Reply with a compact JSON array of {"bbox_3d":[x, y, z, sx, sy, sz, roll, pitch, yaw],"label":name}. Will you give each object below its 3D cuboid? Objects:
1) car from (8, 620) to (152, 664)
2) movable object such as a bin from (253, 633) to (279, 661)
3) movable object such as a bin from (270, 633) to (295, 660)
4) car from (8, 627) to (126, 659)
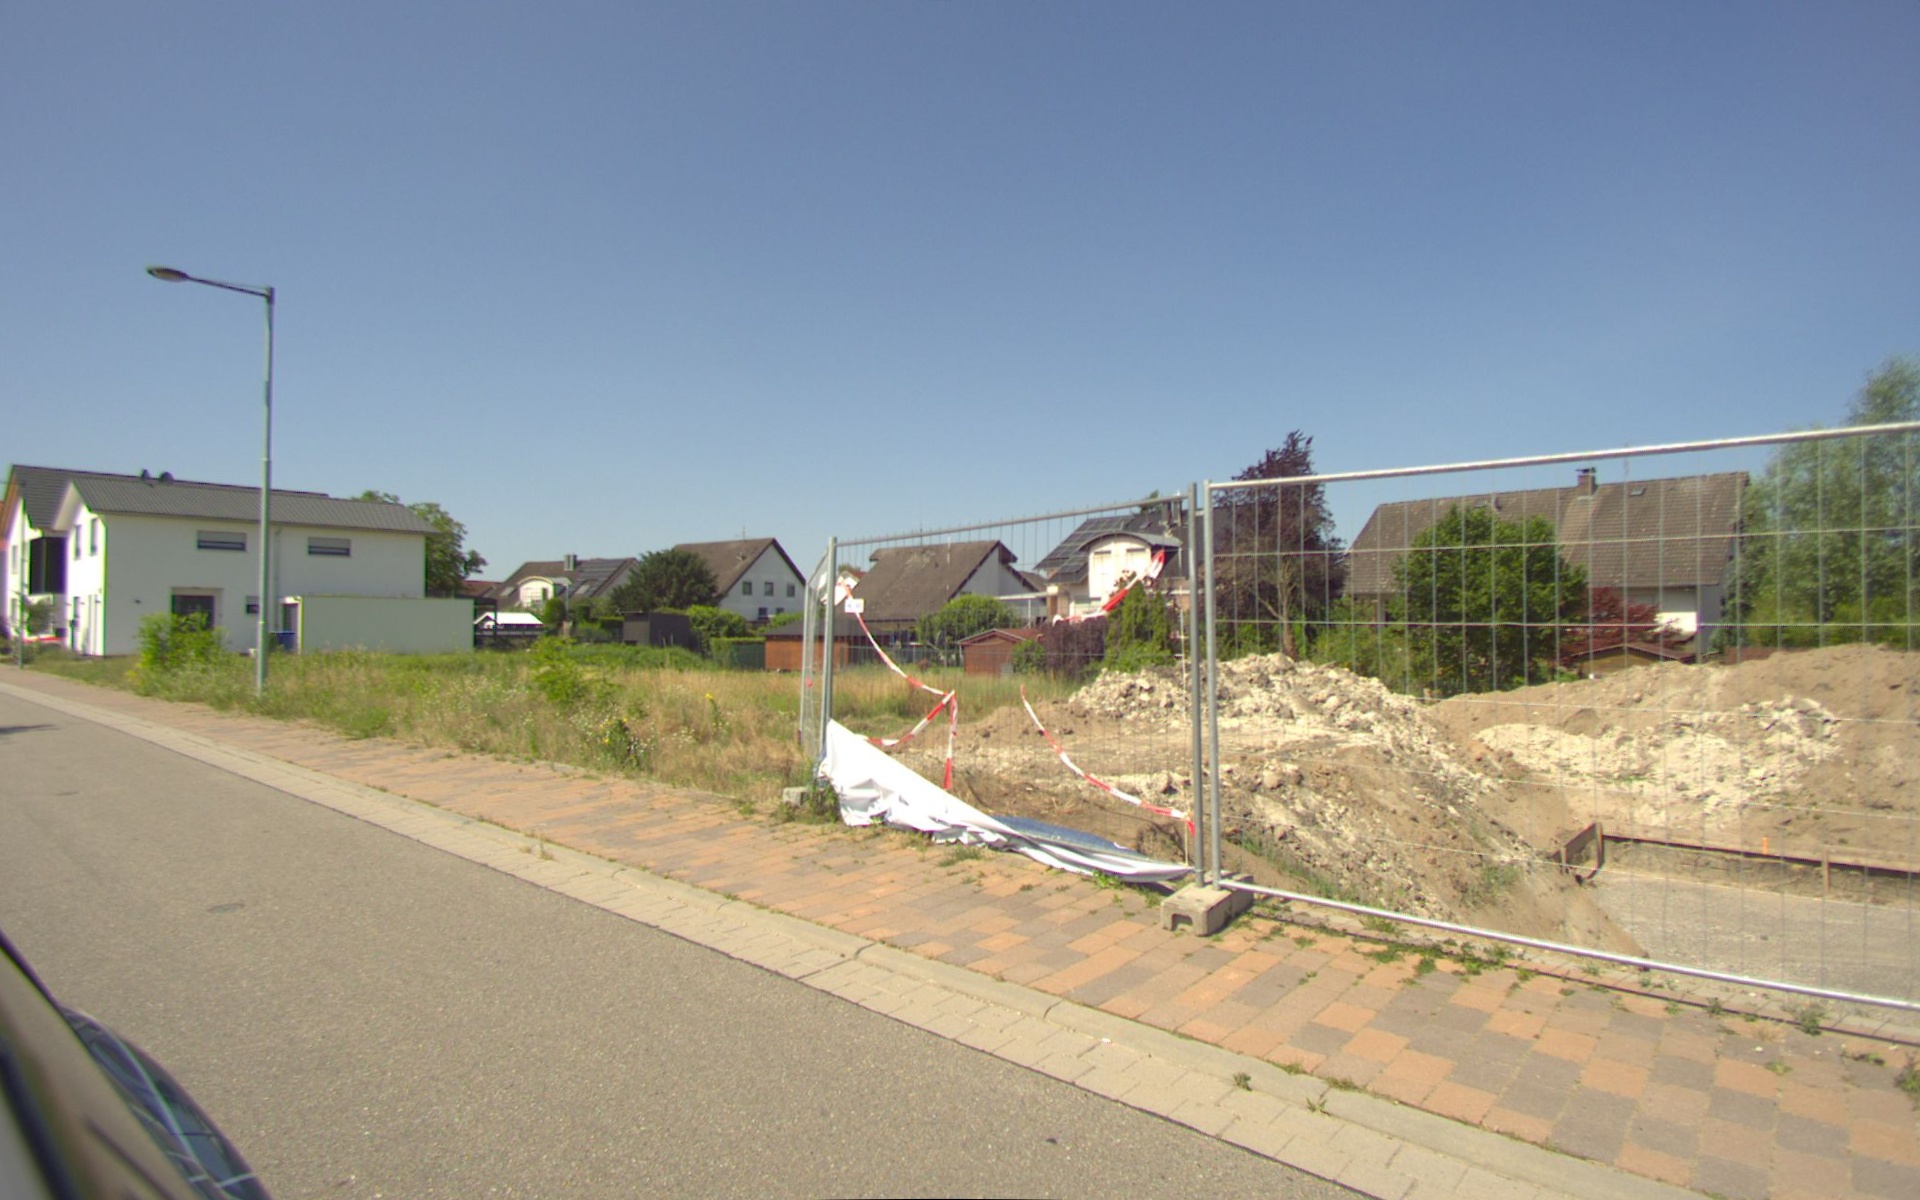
[{"bbox_3d":[-40.167,1.888,46.314,1.936,1.889,4.690,-1,-2,38],"label":"car"},{"bbox_3d":[-27.890,1.877,40.655,0.784,1.107,0.653,-1,-3,41],"label":"movable object such as a bin"},{"bbox_3d":[-27.580,1.890,41.207,0.808,1.107,0.663,-2,-3,42],"label":"movable object such as a bin"},{"bbox_3d":[-44.668,2.144,50.688,1.741,1.574,4.115,-1,-3,35],"label":"car"}]
